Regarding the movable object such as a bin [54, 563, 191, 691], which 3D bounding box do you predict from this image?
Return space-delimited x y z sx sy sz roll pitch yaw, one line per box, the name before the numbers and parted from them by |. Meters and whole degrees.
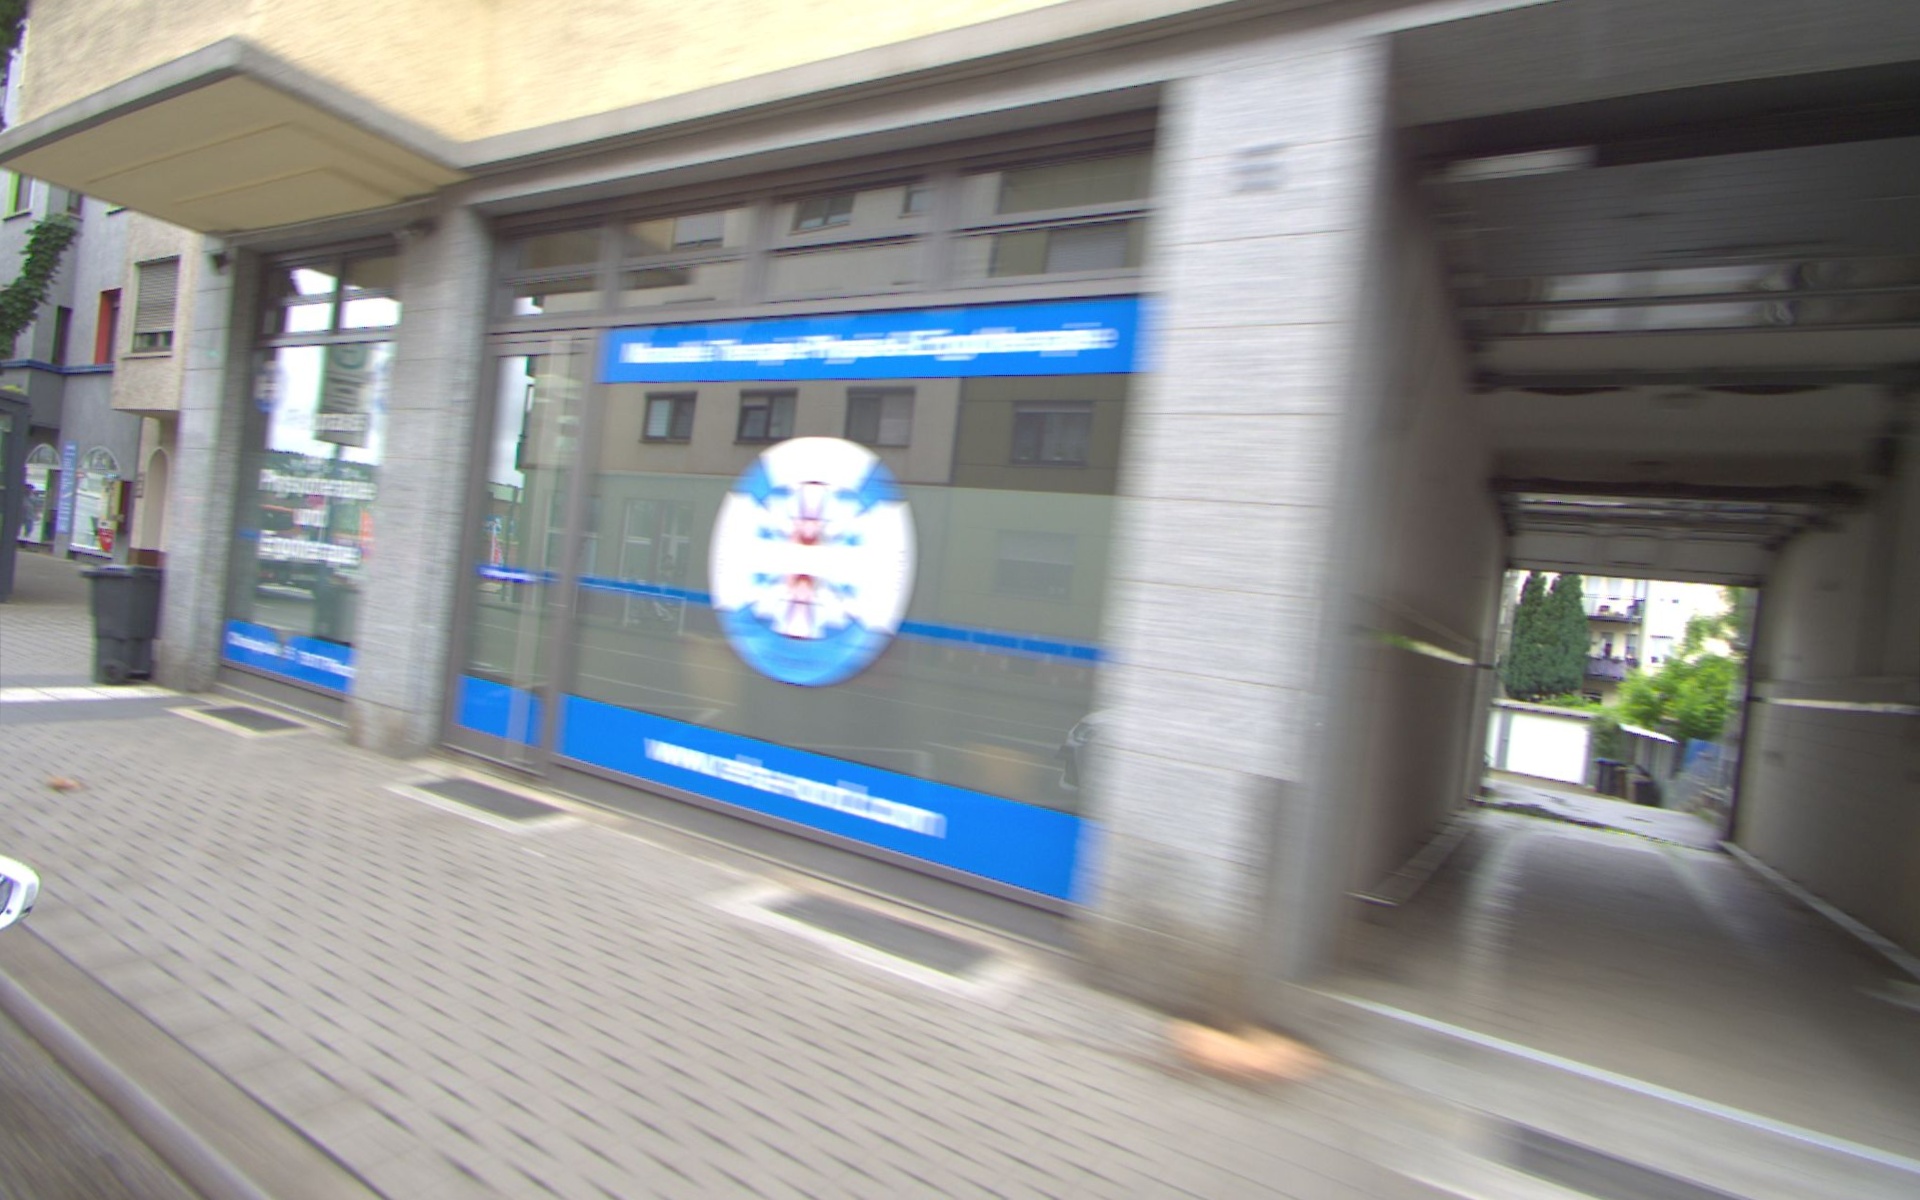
movable object such as a bin | -6.740 0.217 8.103 0.693 0.938 0.600 6 0 31
